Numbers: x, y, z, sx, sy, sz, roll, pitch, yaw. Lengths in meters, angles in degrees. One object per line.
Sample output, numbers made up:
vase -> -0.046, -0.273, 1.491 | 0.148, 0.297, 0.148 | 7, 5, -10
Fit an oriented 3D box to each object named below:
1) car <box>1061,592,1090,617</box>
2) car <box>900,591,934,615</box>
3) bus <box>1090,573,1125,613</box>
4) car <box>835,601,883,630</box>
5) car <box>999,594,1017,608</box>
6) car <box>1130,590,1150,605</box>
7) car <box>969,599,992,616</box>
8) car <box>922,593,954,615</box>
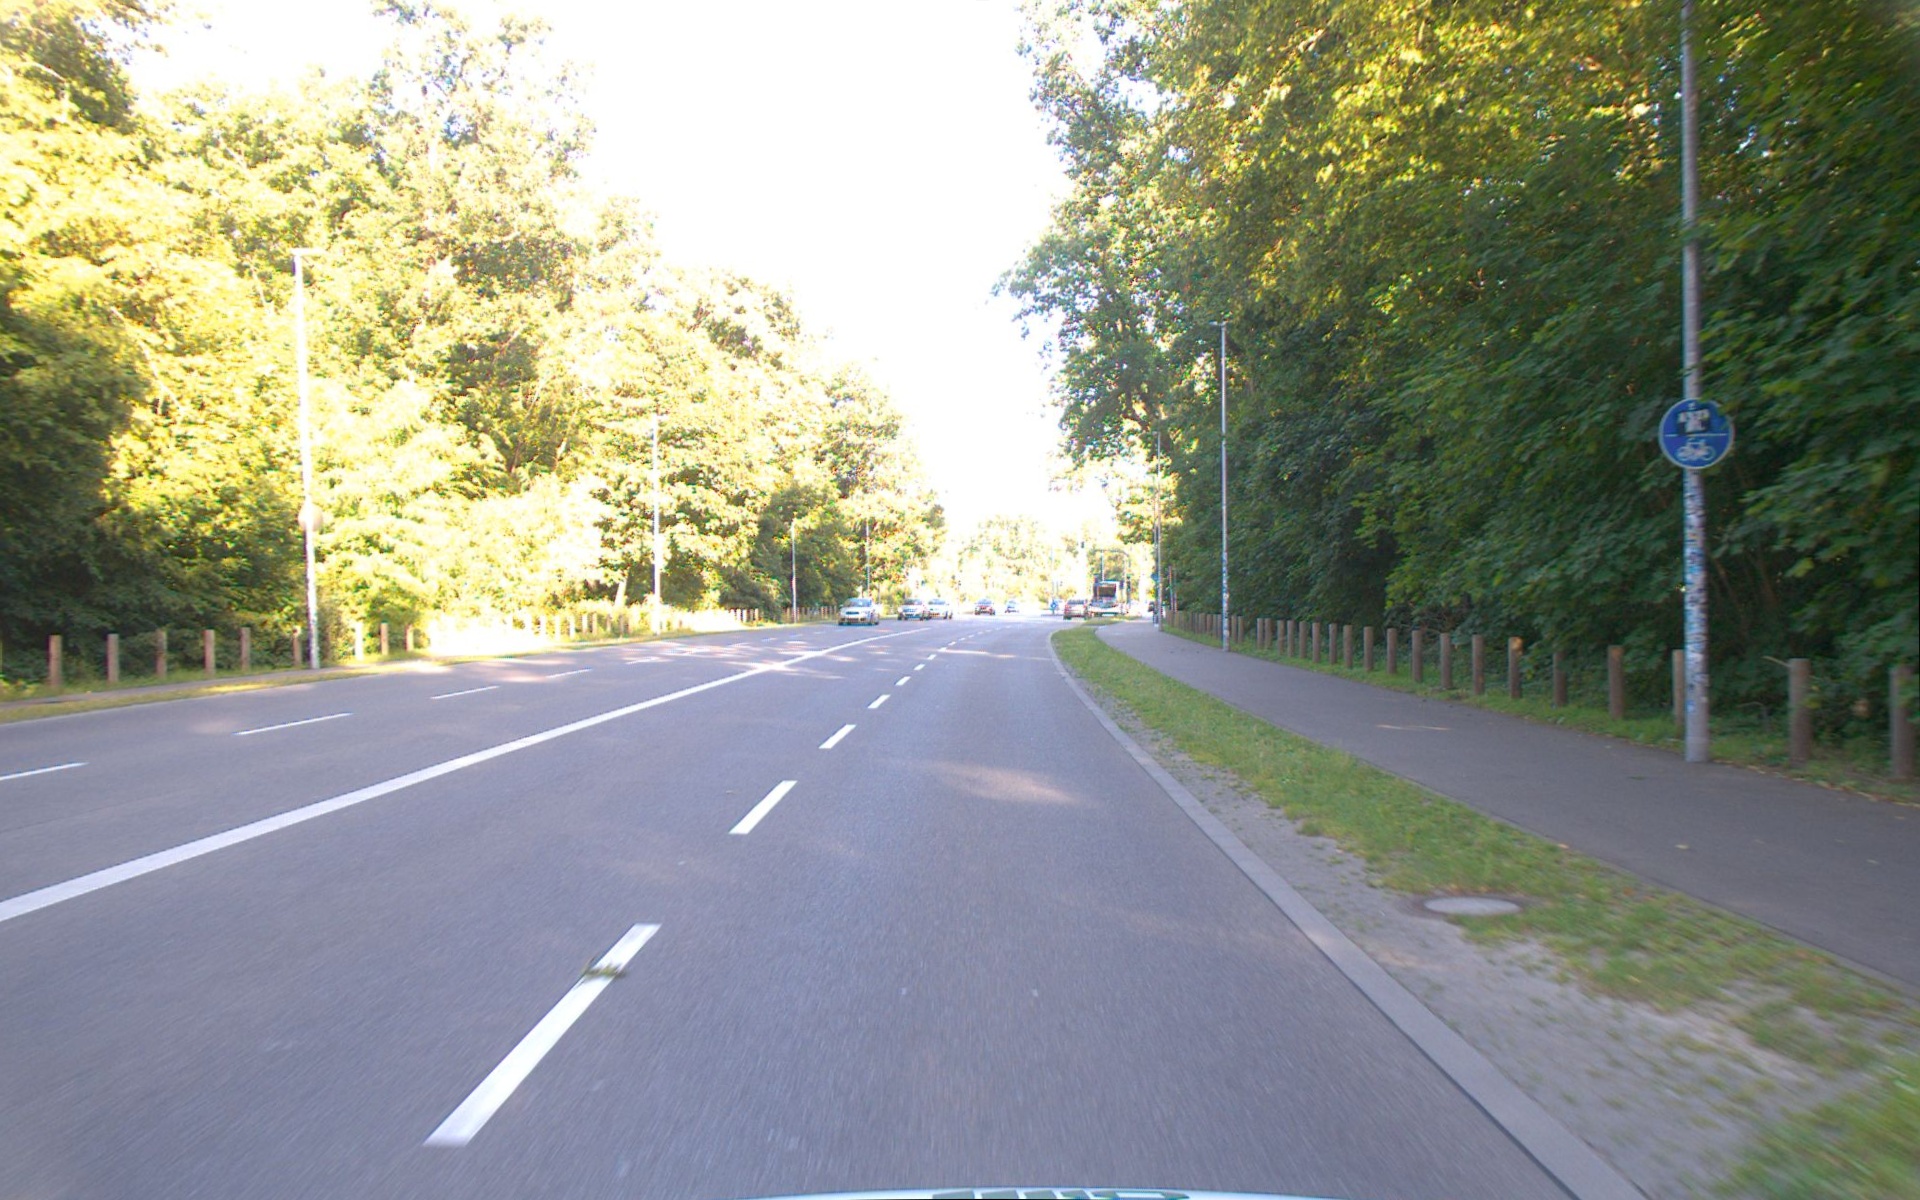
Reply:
car -> 8.792, 0.331, 125.323 | 1.840, 1.796, 4.003 | 0, 0, 9
car -> -2.824, 0.220, 109.402 | 1.742, 1.490, 4.277 | 0, -1, 5
bus -> 13.243, -0.593, 148.193 | 2.549, 3.427, 7.982 | 1, 0, 9
car -> -5.229, 0.796, 86.071 | 1.741, 1.433, 4.169 | 0, 1, 7
car -> 5.192, 0.142, 178.342 | 1.620, 1.534, 4.003 | 0, 0, 7
car -> 20.603, -0.296, 189.528 | 1.823, 1.713, 3.775 | -1, 0, 13
car -> 1.966, 0.711, 155.134 | 1.627, 1.544, 3.810 | 0, 0, 9
car -> -1.590, 0.279, 120.009 | 1.745, 1.549, 4.401 | 0, 0, 6
